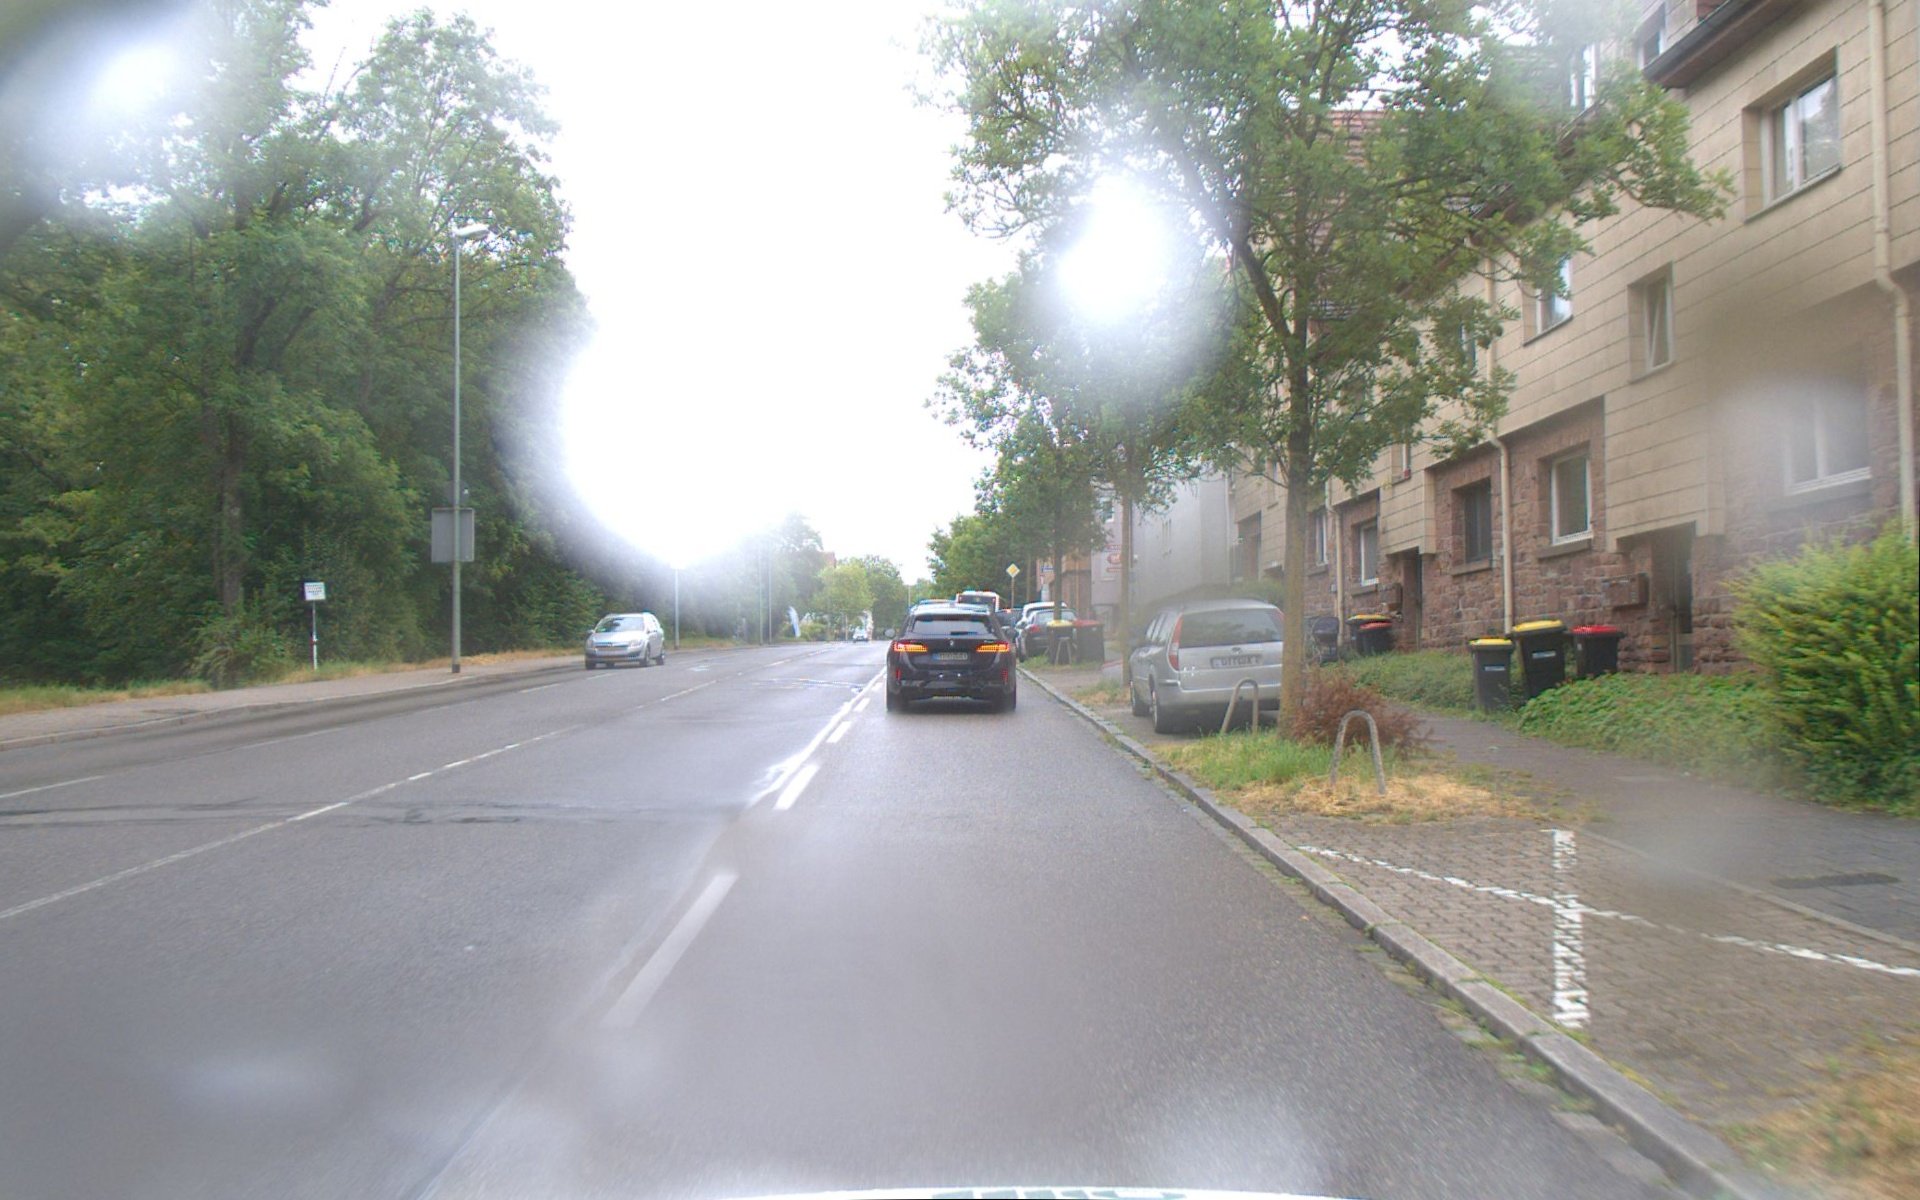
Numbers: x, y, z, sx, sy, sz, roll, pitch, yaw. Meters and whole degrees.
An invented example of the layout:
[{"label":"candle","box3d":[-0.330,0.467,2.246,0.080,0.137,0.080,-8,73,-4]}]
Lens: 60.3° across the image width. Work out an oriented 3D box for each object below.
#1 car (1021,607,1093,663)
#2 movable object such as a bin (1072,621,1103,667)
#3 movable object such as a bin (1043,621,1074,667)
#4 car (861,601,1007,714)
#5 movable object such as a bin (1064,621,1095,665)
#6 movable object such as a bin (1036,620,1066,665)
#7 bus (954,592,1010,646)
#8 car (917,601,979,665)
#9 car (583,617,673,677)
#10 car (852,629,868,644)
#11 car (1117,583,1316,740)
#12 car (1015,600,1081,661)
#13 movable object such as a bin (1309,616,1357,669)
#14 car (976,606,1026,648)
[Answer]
[{"label":"car","box3d":[2.680,0.977,46.302,1.608,1.474,3.996,-1,-1,-2]},{"label":"movable object such as a bin","box3d":[3.122,1.077,40.526,0.607,1.068,0.822,-3,0,-4]},{"label":"movable object such as a bin","box3d":[2.405,1.065,40.530,0.607,1.068,0.822,-3,0,-4]},{"label":"car","box3d":[-0.393,0.810,24.699,1.953,1.478,3.999,2,-1,-1]},{"label":"movable object such as a bin","box3d":[2.993,1.070,41.447,0.607,1.068,0.822,-3,0,-4]},{"label":"movable object such as a bin","box3d":[2.269,1.059,41.426,0.607,1.068,0.822,-3,0,-4]},{"label":"bus","box3d":[1.329,1.064,94.448,2.568,2.897,8.293,-2,0,5]},{"label":"car","box3d":[-0.409,1.065,54.317,1.953,2.049,3.999,0,-1,-1]},{"label":"car","box3d":[-9.176,1.265,46.012,1.655,1.508,4.450,-2,0,-1]},{"label":"car","box3d":[-11.614,4.252,192.223,1.734,1.560,3.999,-2,0,-1]},{"label":"car","box3d":[3.056,0.664,20.621,1.667,1.611,4.642,-4,0,0]},{"label":"car","box3d":[2.702,0.925,51.795,1.787,1.803,4.540,-1,0,0]},{"label":"movable object such as a bin","box3d":[7.141,0.802,31.669,0.686,0.982,0.941,1,0,-1]},{"label":"car","box3d":[2.086,1.364,83.000,1.886,1.925,4.764,-4,-2,8]}]
